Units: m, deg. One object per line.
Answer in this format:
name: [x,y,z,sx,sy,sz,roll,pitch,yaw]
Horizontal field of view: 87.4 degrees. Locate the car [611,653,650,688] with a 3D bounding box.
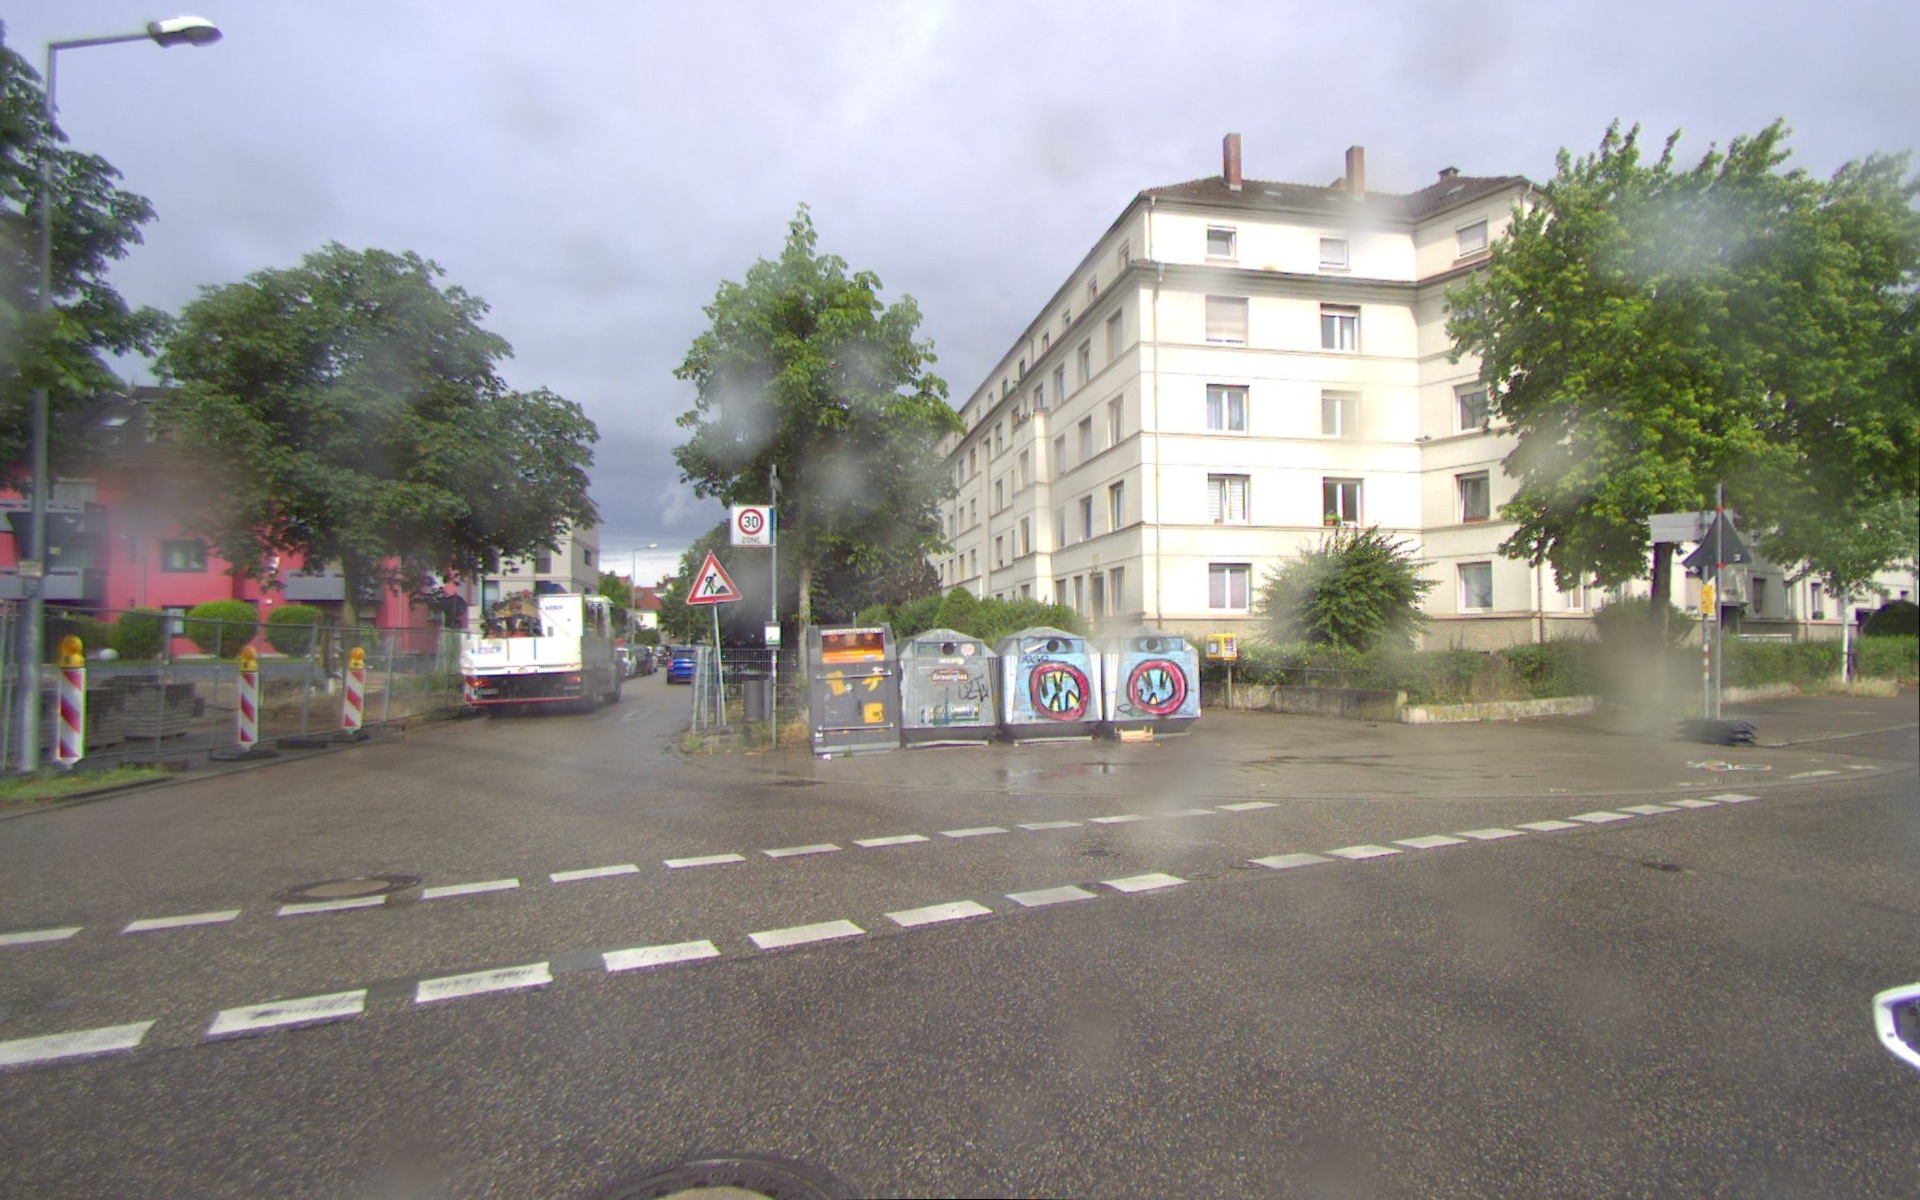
car: [-15.750,3.347,48.120,1.638,1.605,3.498,0,-3,-16]

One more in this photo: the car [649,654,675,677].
car: [-20.766,4.554,70.039,1.638,1.605,3.498,0,-3,-16]

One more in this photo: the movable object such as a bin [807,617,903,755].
movable object such as a bin: [-1.541,1.202,14.434,1.241,1.848,1.540,-1,-3,-11]

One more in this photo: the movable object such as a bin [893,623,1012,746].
movable object such as a bin: [-0.151,1.220,14.874,1.500,1.677,1.540,-1,-3,-11]

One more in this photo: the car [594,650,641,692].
car: [-13.795,2.860,40.595,1.638,1.605,3.498,0,-3,-16]

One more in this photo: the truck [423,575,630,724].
truck: [-11.124,1.354,27.025,3.729,3.225,9.817,0,-3,-15]

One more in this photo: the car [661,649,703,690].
car: [-11.554,2.870,41.686,1.638,1.605,3.498,0,-3,-16]

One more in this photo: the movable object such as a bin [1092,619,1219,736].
movable object such as a bin: [2.977,1.166,15.500,1.433,1.683,1.540,-1,-3,-11]

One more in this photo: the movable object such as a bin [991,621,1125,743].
movable object such as a bin: [1.440,1.204,15.185,1.636,1.696,1.540,-1,-3,-11]

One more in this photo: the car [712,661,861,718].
car: [-4.885,2.509,28.553,4.048,1.460,1.702,-1,-4,-9]

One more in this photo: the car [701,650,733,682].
car: [-13.472,3.649,55.625,1.637,1.664,3.499,0,-3,-15]

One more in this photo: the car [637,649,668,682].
car: [-17.484,3.704,57.204,1.638,1.780,3.498,0,-3,-16]
